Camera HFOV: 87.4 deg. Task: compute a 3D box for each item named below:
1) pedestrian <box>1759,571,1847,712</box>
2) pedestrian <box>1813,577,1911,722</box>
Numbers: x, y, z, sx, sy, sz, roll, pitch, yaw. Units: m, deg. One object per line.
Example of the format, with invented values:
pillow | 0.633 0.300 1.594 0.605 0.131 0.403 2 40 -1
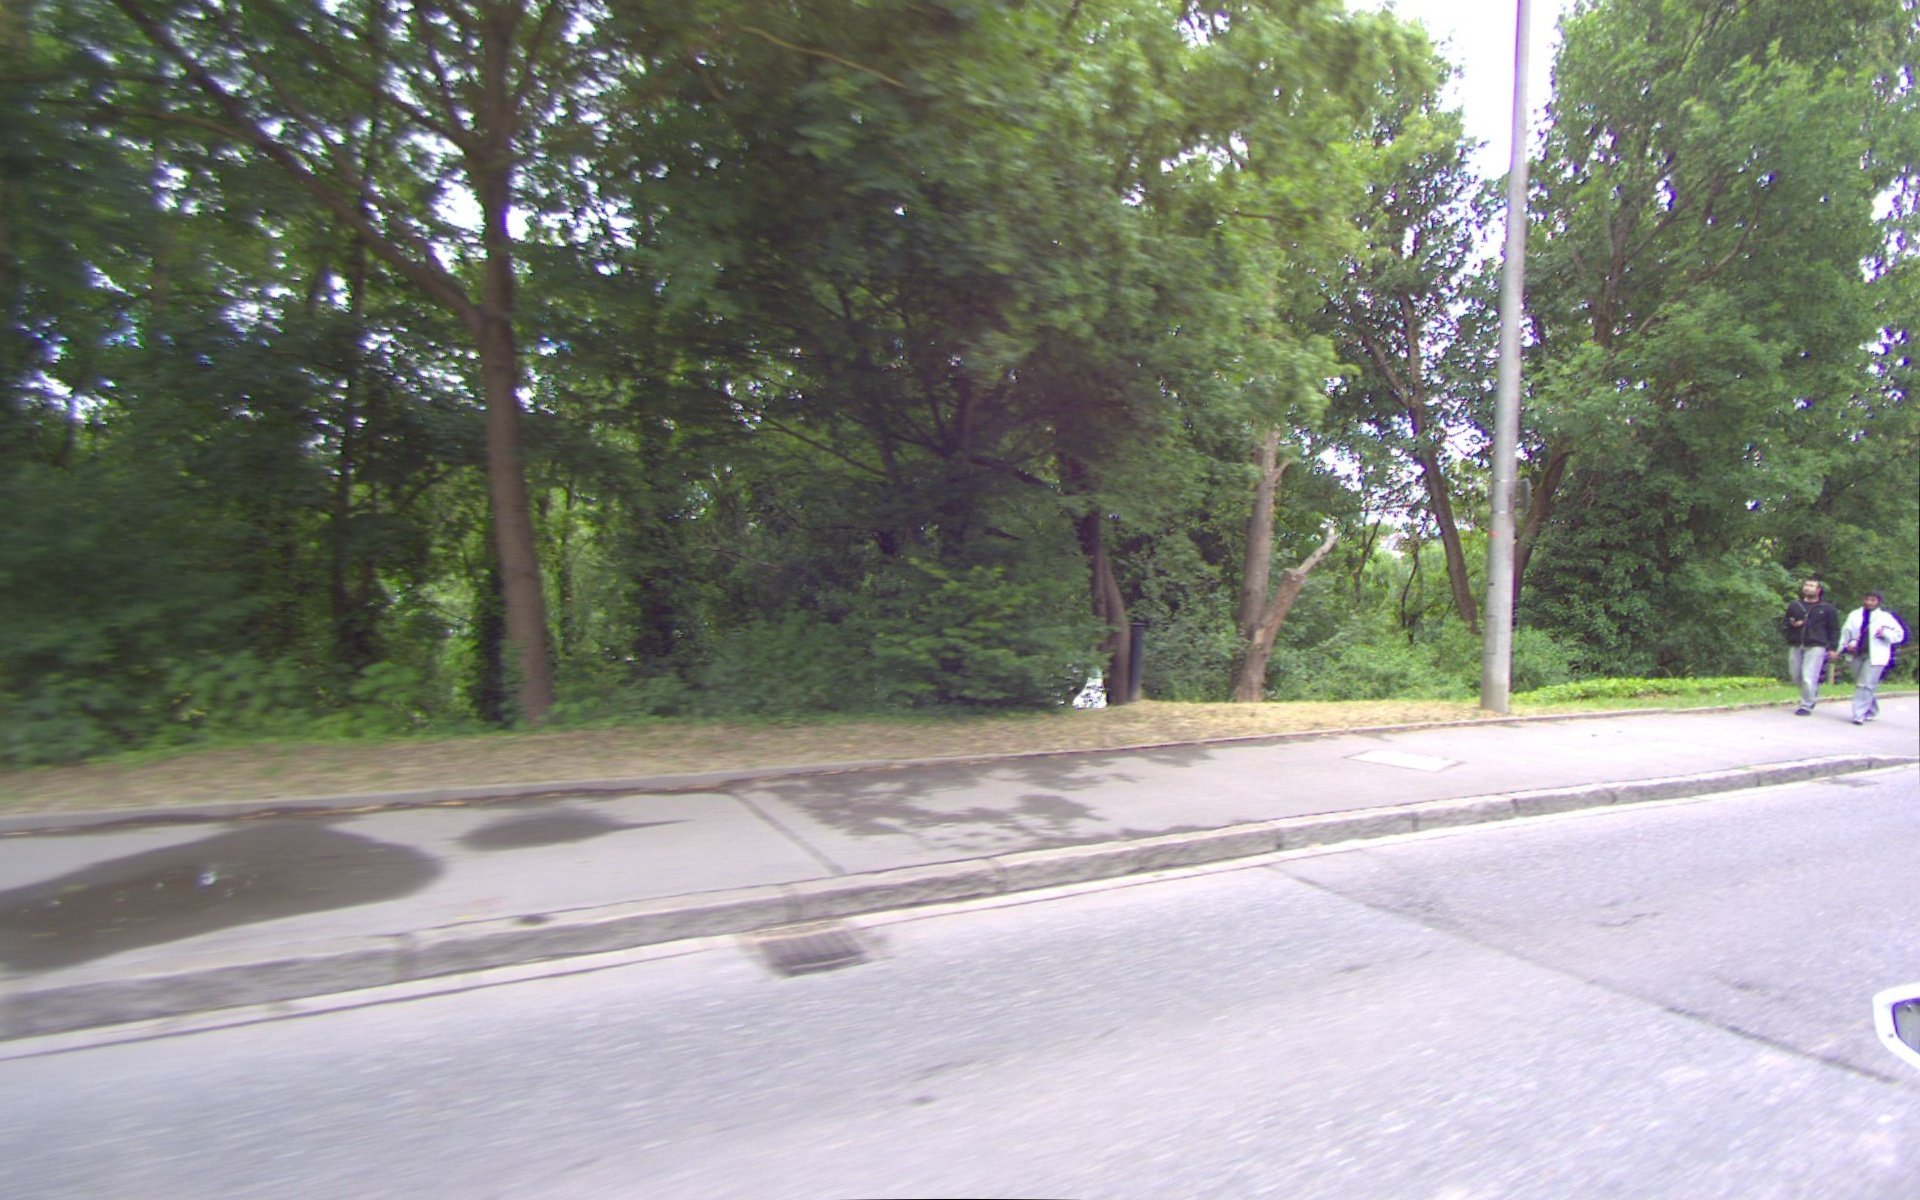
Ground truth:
pedestrian | 11.380 0.536 13.568 0.813 1.827 0.584 0 3 -30
pedestrian | 11.707 0.619 13.041 0.848 1.789 0.548 0 5 -30
